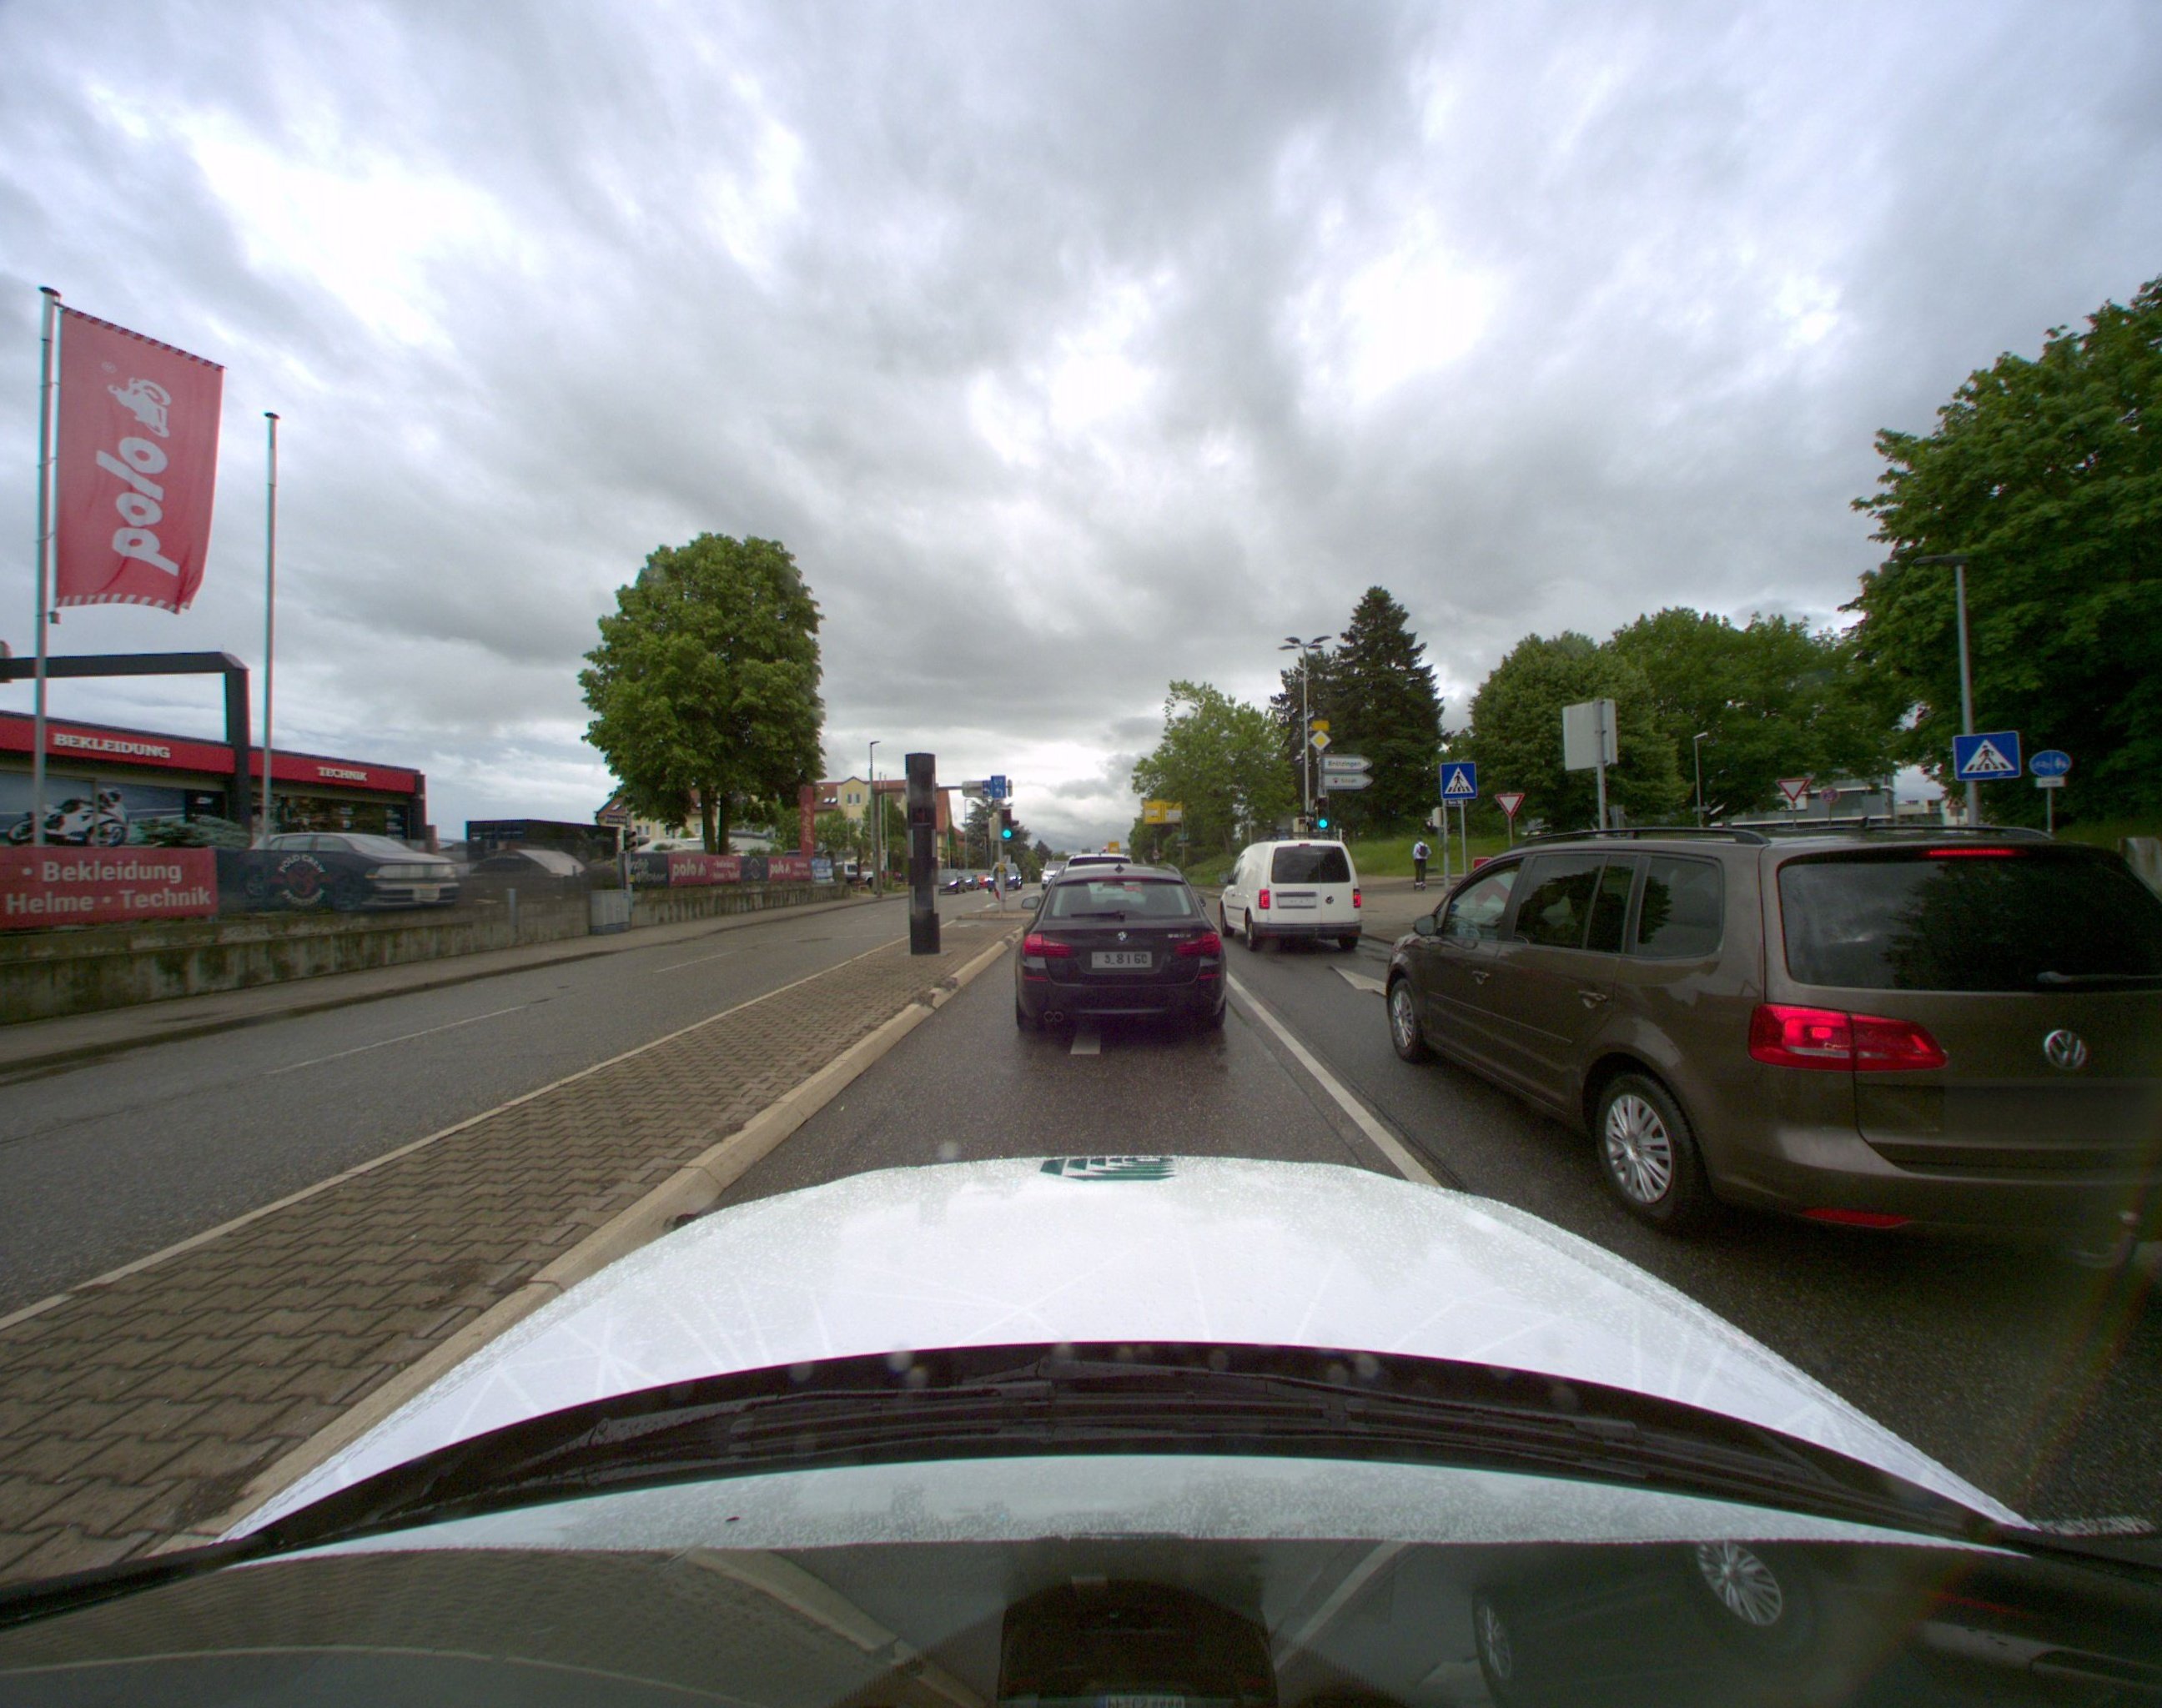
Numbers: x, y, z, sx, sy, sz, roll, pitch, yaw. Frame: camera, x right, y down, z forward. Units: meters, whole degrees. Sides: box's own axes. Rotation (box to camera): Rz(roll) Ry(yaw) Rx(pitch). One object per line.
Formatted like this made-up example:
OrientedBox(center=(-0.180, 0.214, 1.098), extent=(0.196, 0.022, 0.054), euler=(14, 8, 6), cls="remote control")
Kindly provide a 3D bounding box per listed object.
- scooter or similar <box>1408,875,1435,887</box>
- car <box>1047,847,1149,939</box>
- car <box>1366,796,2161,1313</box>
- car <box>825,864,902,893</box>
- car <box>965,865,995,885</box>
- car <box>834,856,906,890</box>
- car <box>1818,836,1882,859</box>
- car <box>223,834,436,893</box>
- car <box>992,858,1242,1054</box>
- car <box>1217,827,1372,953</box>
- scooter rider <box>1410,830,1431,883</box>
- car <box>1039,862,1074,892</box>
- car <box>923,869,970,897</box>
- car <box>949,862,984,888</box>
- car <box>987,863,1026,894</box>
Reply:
OrientedBox(center=(12.705, 1.008, 30.428), extent=(0.485, 0.403, 1.256), euler=(-2, 0, 1), cls="scooter or similar")
OrientedBox(center=(0.377, 0.717, 17.050), extent=(1.861, 1.673, 4.002), euler=(-1, 0, 2), cls="car")
OrientedBox(center=(3.110, 0.644, 4.549), extent=(1.740, 1.609, 3.982), euler=(-1, -1, 2), cls="car")
OrientedBox(center=(-15.637, 1.774, 58.657), extent=(5.024, 1.702, 1.982), euler=(-3, -3, -27), cls="car")
OrientedBox(center=(-7.620, 1.588, 61.789), extent=(1.617, 1.332, 3.947), euler=(-3, 0, 1), cls="car")
OrientedBox(center=(-14.511, 1.325, 56.135), extent=(4.410, 2.013, 1.982), euler=(-3, -1, -27), cls="car")
OrientedBox(center=(58.480, -0.483, 61.958), extent=(3.999, 1.428, 1.840), euler=(-3, -2, -19), cls="car")
OrientedBox(center=(-16.903, 0.205, 18.416), extent=(3.376, 1.167, 1.453), euler=(-2, 0, -1), cls="car")
OrientedBox(center=(0.346, 0.796, 8.229), extent=(1.891, 1.441, 4.002), euler=(-1, 0, 2), cls="car")
OrientedBox(center=(3.560, 0.543, 14.278), extent=(1.758, 1.877, 3.806), euler=(-1, 0, 1), cls="car")
OrientedBox(center=(12.661, 0.085, 30.398), extent=(0.499, 1.965, 0.548), euler=(-2, 0, 1), cls="scooter rider")
OrientedBox(center=(-1.380, 1.323, 48.330), extent=(1.833, 1.649, 4.297), euler=(-2, 0, 1), cls="car")
OrientedBox(center=(-7.814, 1.678, 47.710), extent=(1.910, 1.379, 4.126), euler=(-3, 0, 1), cls="car")
OrientedBox(center=(-7.787, 1.424, 55.841), extent=(1.670, 1.618, 4.001), euler=(-3, 0, 1), cls="car")
OrientedBox(center=(-4.476, 1.439, 49.429), extent=(1.833, 1.649, 4.297), euler=(-3, 0, 1), cls="car")
